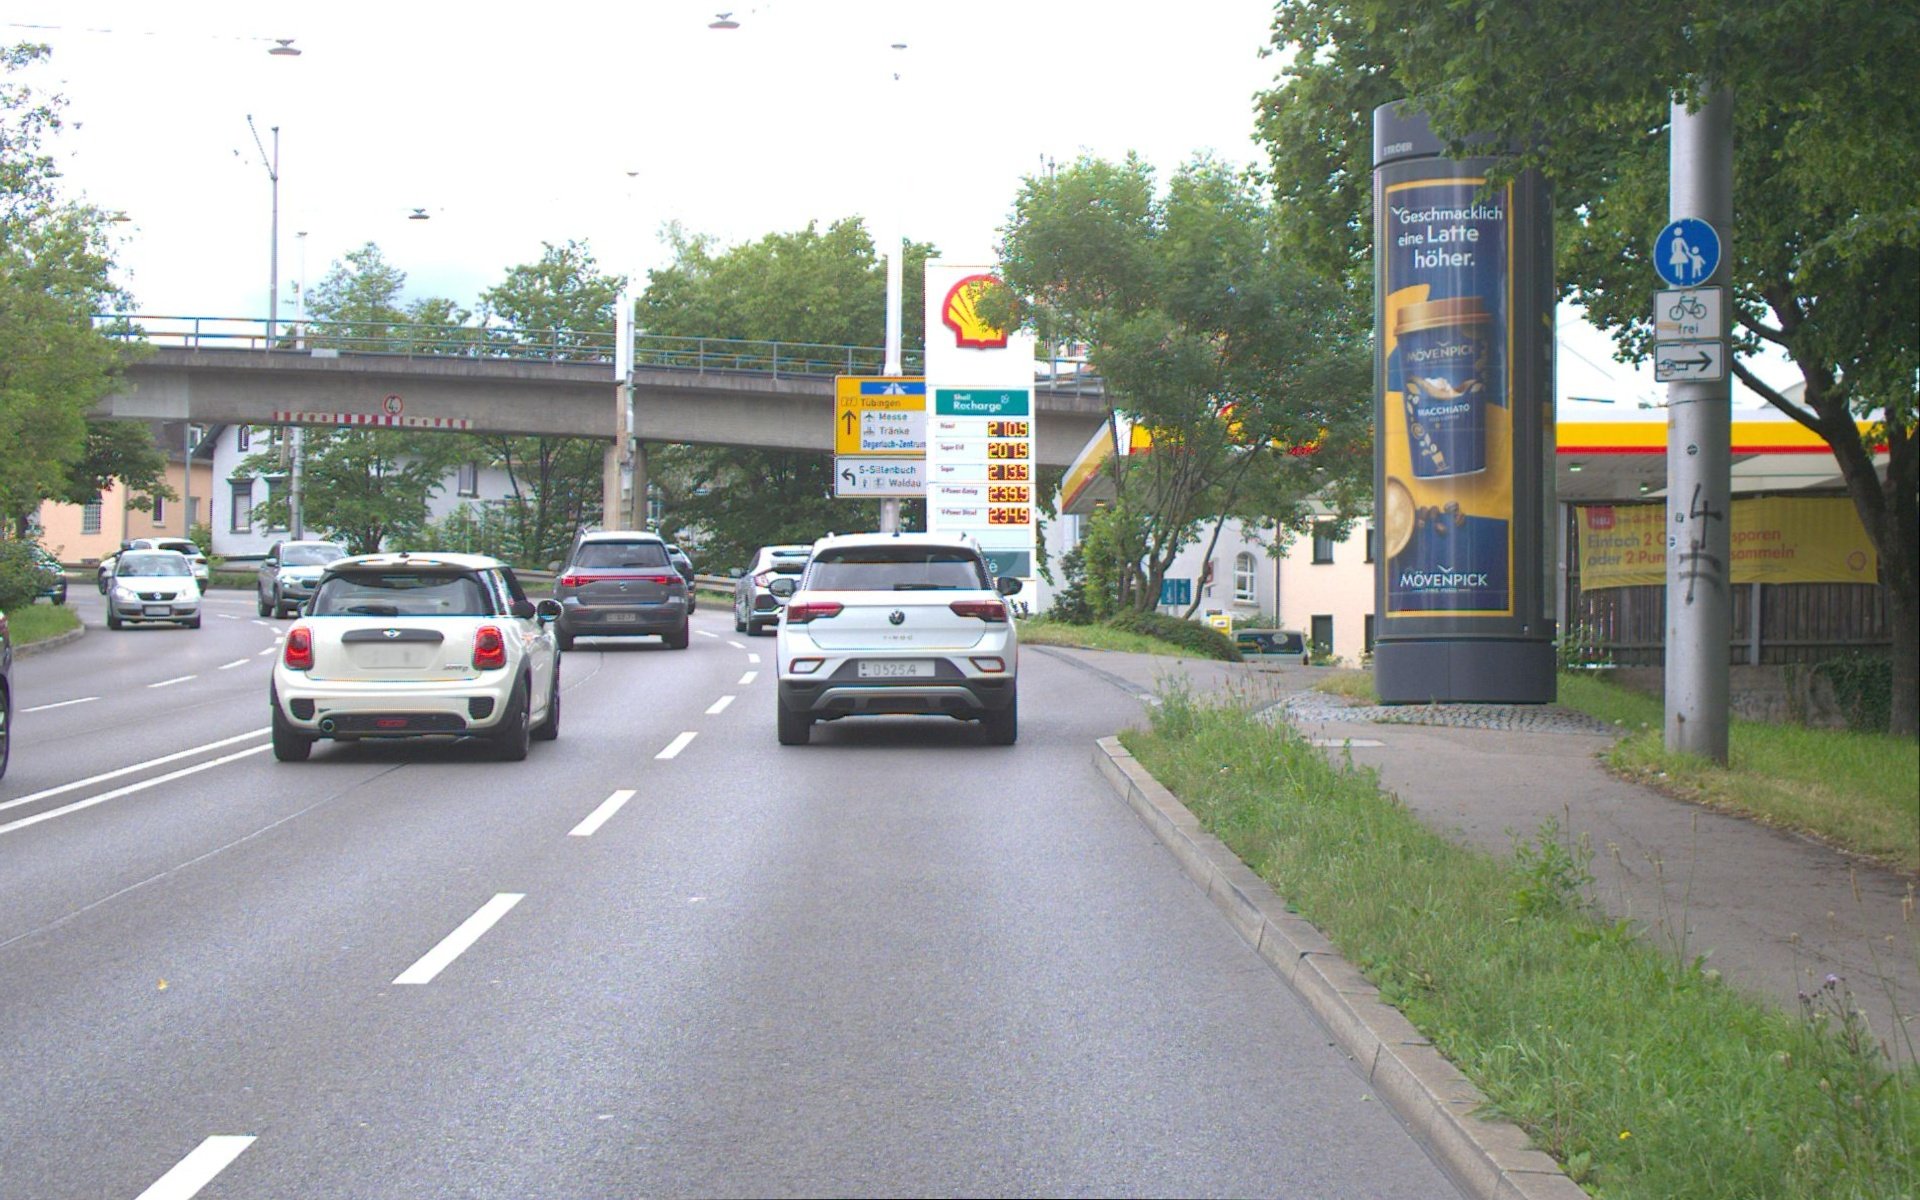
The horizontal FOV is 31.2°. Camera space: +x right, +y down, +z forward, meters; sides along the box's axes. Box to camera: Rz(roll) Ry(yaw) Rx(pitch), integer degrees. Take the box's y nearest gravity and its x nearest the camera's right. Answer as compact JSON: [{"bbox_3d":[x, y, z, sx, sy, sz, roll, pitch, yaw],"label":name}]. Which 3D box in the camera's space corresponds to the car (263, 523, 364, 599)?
[{"bbox_3d":[-13.506,-0.835,71.998,1.785,1.533,4.077,0,1,-6],"label":"car"}]

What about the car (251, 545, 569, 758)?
[{"bbox_3d":[-3.833,0.315,24.457,1.722,1.371,3.457,1,1,-1],"label":"car"}]

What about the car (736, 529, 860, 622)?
[{"bbox_3d":[-2.614,-0.408,54.872,1.675,1.404,3.457,1,1,-8],"label":"car"}]

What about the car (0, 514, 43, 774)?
[{"bbox_3d":[-6.726,0.283,19.778,1.764,1.587,4.366,1,1,-1],"label":"car"}]

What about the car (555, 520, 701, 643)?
[{"bbox_3d":[-4.613,-0.286,48.197,1.722,1.634,3.457,1,1,-1],"label":"car"}]

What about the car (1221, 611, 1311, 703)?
[{"bbox_3d":[7.053,1.358,79.630,1.735,2.003,4.712,0,-2,1],"label":"car"}]

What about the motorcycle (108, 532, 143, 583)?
[{"bbox_3d":[-21.594,-1.114,88.914,0.590,1.300,2.458,0,1,-21],"label":"motorcycle"}]

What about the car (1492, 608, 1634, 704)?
[{"bbox_3d":[9.951,0.953,56.935,1.735,1.481,3.877,0,-2,1],"label":"car"}]

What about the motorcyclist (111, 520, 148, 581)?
[{"bbox_3d":[-21.510,-1.285,89.053,0.800,1.550,1.000,0,1,-21],"label":"motorcyclist"}]

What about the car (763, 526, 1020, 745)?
[{"bbox_3d":[-0.502,0.221,26.075,1.797,1.513,3.457,1,1,-1],"label":"car"}]

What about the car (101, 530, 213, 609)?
[{"bbox_3d":[-15.130,-0.600,64.919,1.565,1.426,3.892,1,1,-6],"label":"car"}]

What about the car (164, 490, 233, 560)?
[{"bbox_3d":[-21.799,-2.151,98.514,1.897,1.930,4.001,0,1,-12],"label":"car"}]

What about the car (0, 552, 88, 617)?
[{"bbox_3d":[-23.453,-0.419,87.717,1.784,1.570,4.469,-1,1,-21],"label":"car"}]
